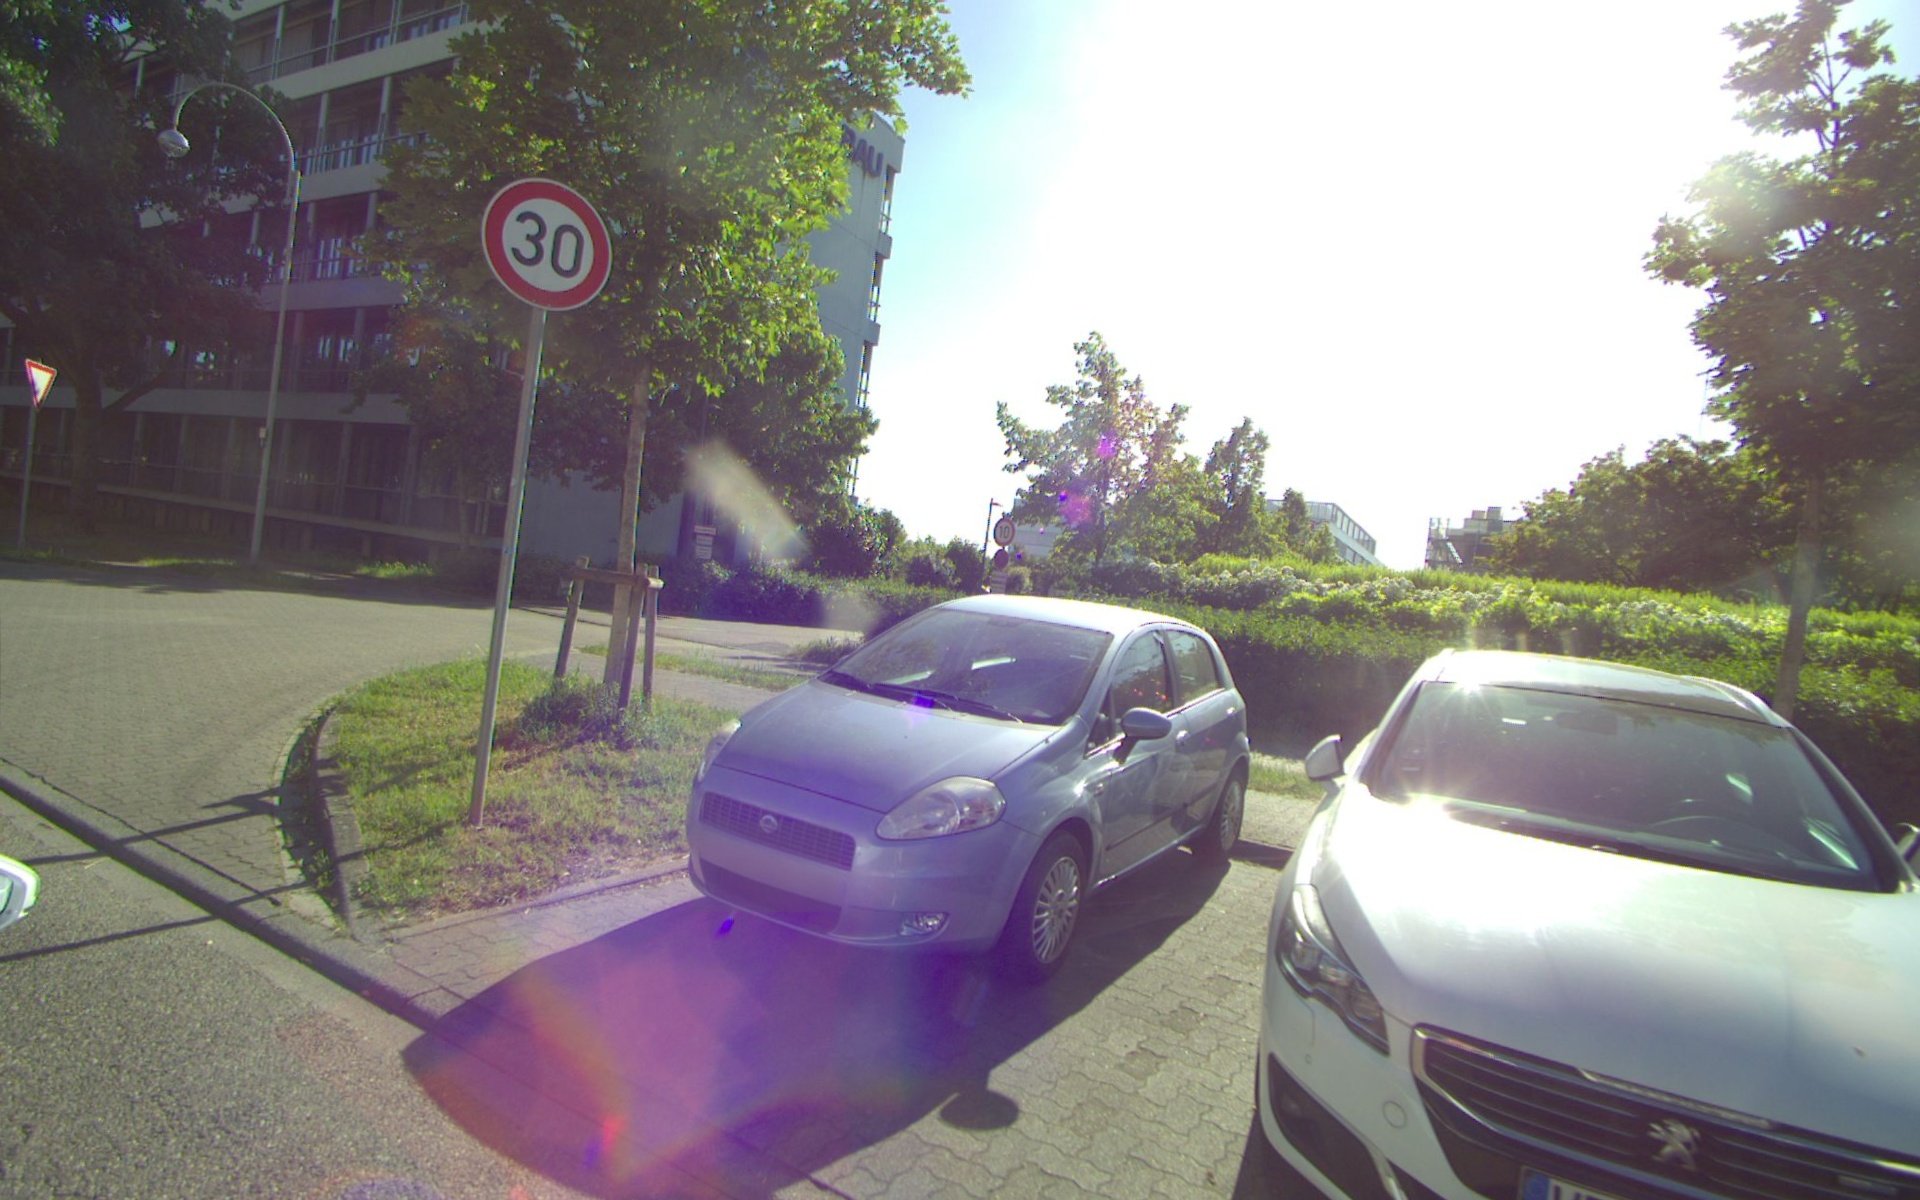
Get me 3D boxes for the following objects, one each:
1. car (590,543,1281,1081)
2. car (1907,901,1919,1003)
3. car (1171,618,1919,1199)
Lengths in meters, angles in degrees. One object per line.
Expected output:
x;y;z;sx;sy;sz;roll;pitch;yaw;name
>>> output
0.311;0.680;5.194;1.672;1.535;3.950;7;2;29;car
4.464;1.187;2.799;1.721;1.535;3.876;7;2;31;car
2.343;0.942;3.848;1.947;1.535;4.556;7;2;25;car
